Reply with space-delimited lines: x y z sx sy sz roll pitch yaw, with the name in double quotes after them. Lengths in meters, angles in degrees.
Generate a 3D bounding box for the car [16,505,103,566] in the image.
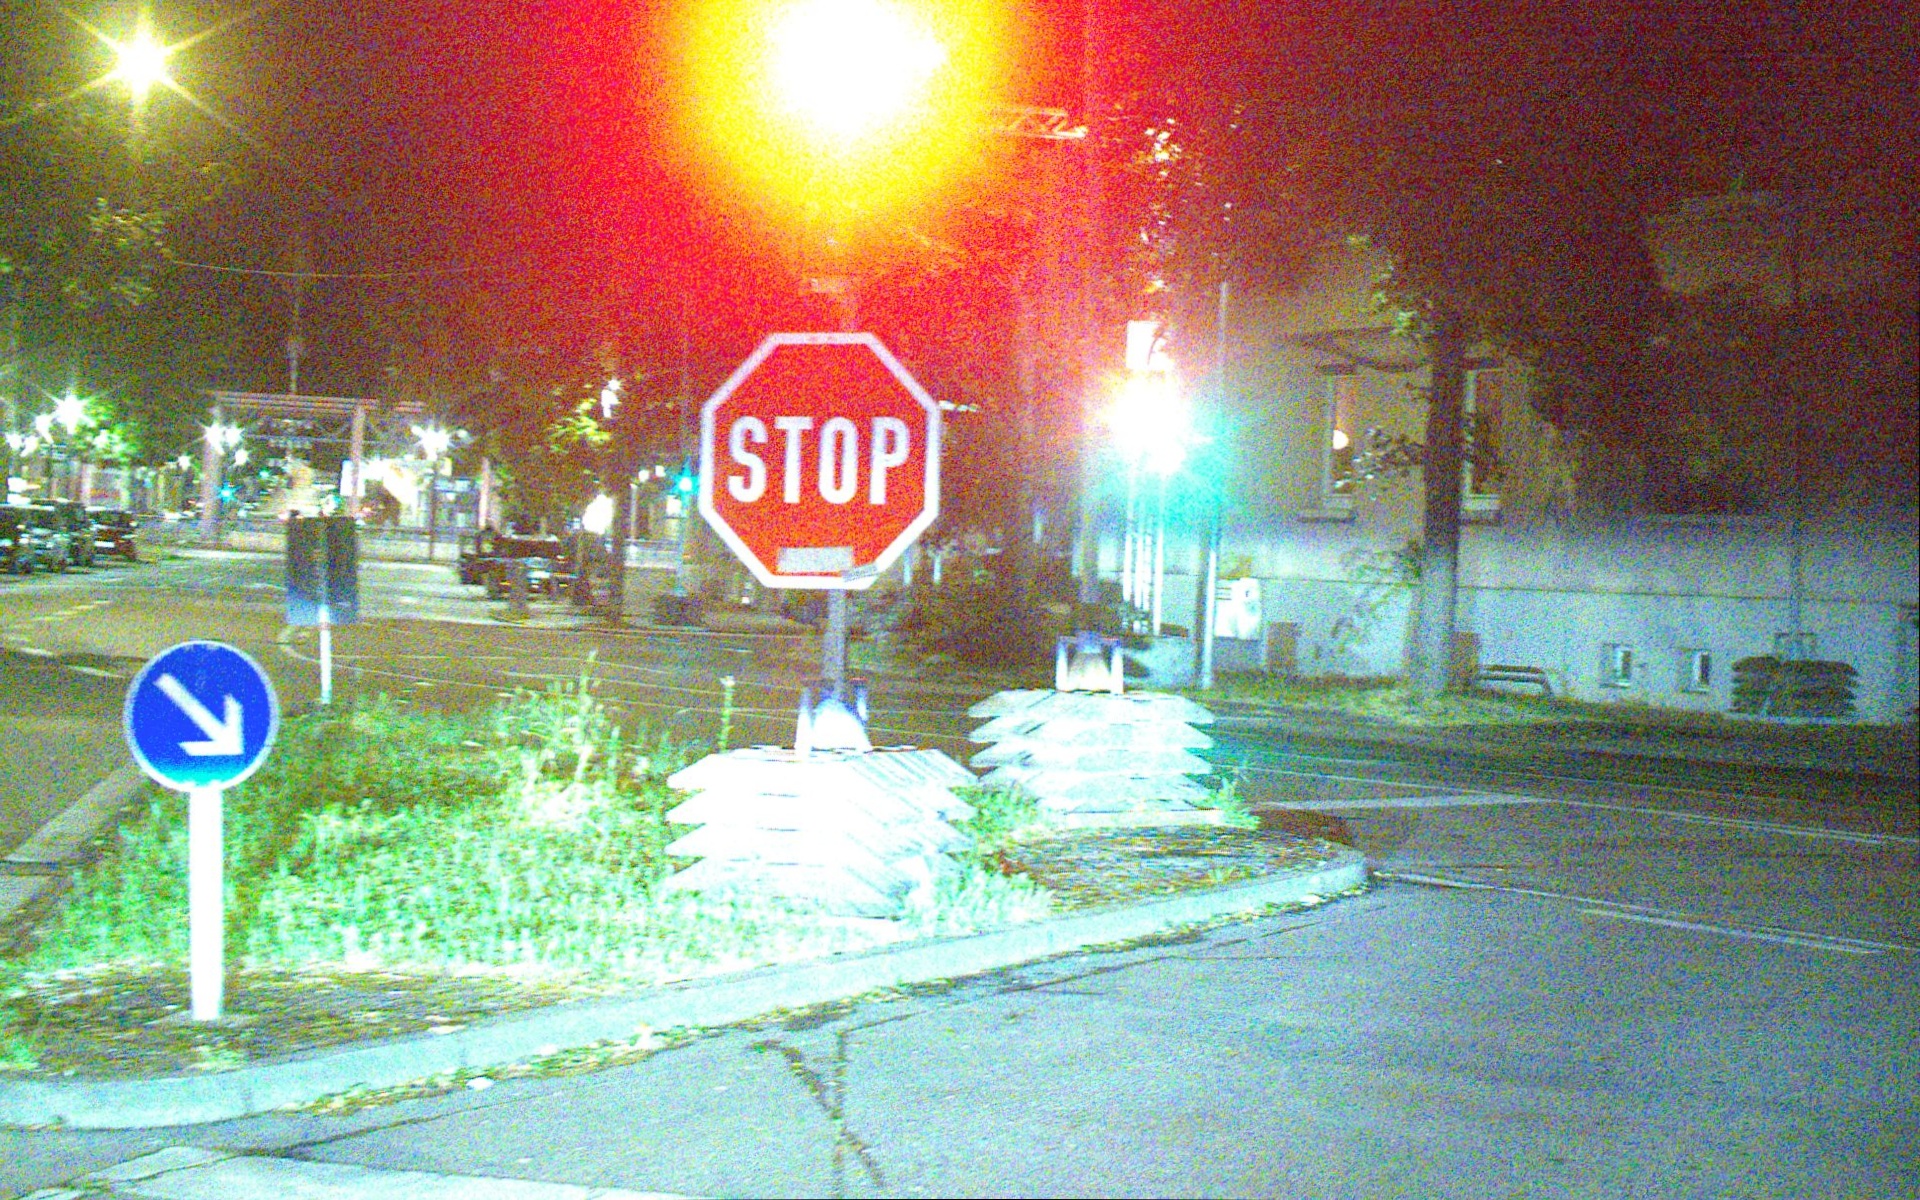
-22.277 -1.604 85.128 1.651 1.426 4.001 2 1 -9 "car"

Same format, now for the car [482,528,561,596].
-9.765 -0.860 76.509 1.651 1.426 4.001 2 1 -8 "car"

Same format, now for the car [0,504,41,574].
-20.428 -1.309 72.363 1.651 1.426 4.001 2 1 -9 "car"

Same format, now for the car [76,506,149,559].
-24.324 -1.936 98.712 1.651 1.426 4.001 2 1 -9 "car"

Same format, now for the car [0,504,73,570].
-21.284 -1.439 78.313 1.651 1.426 4.001 2 1 -9 "car"
